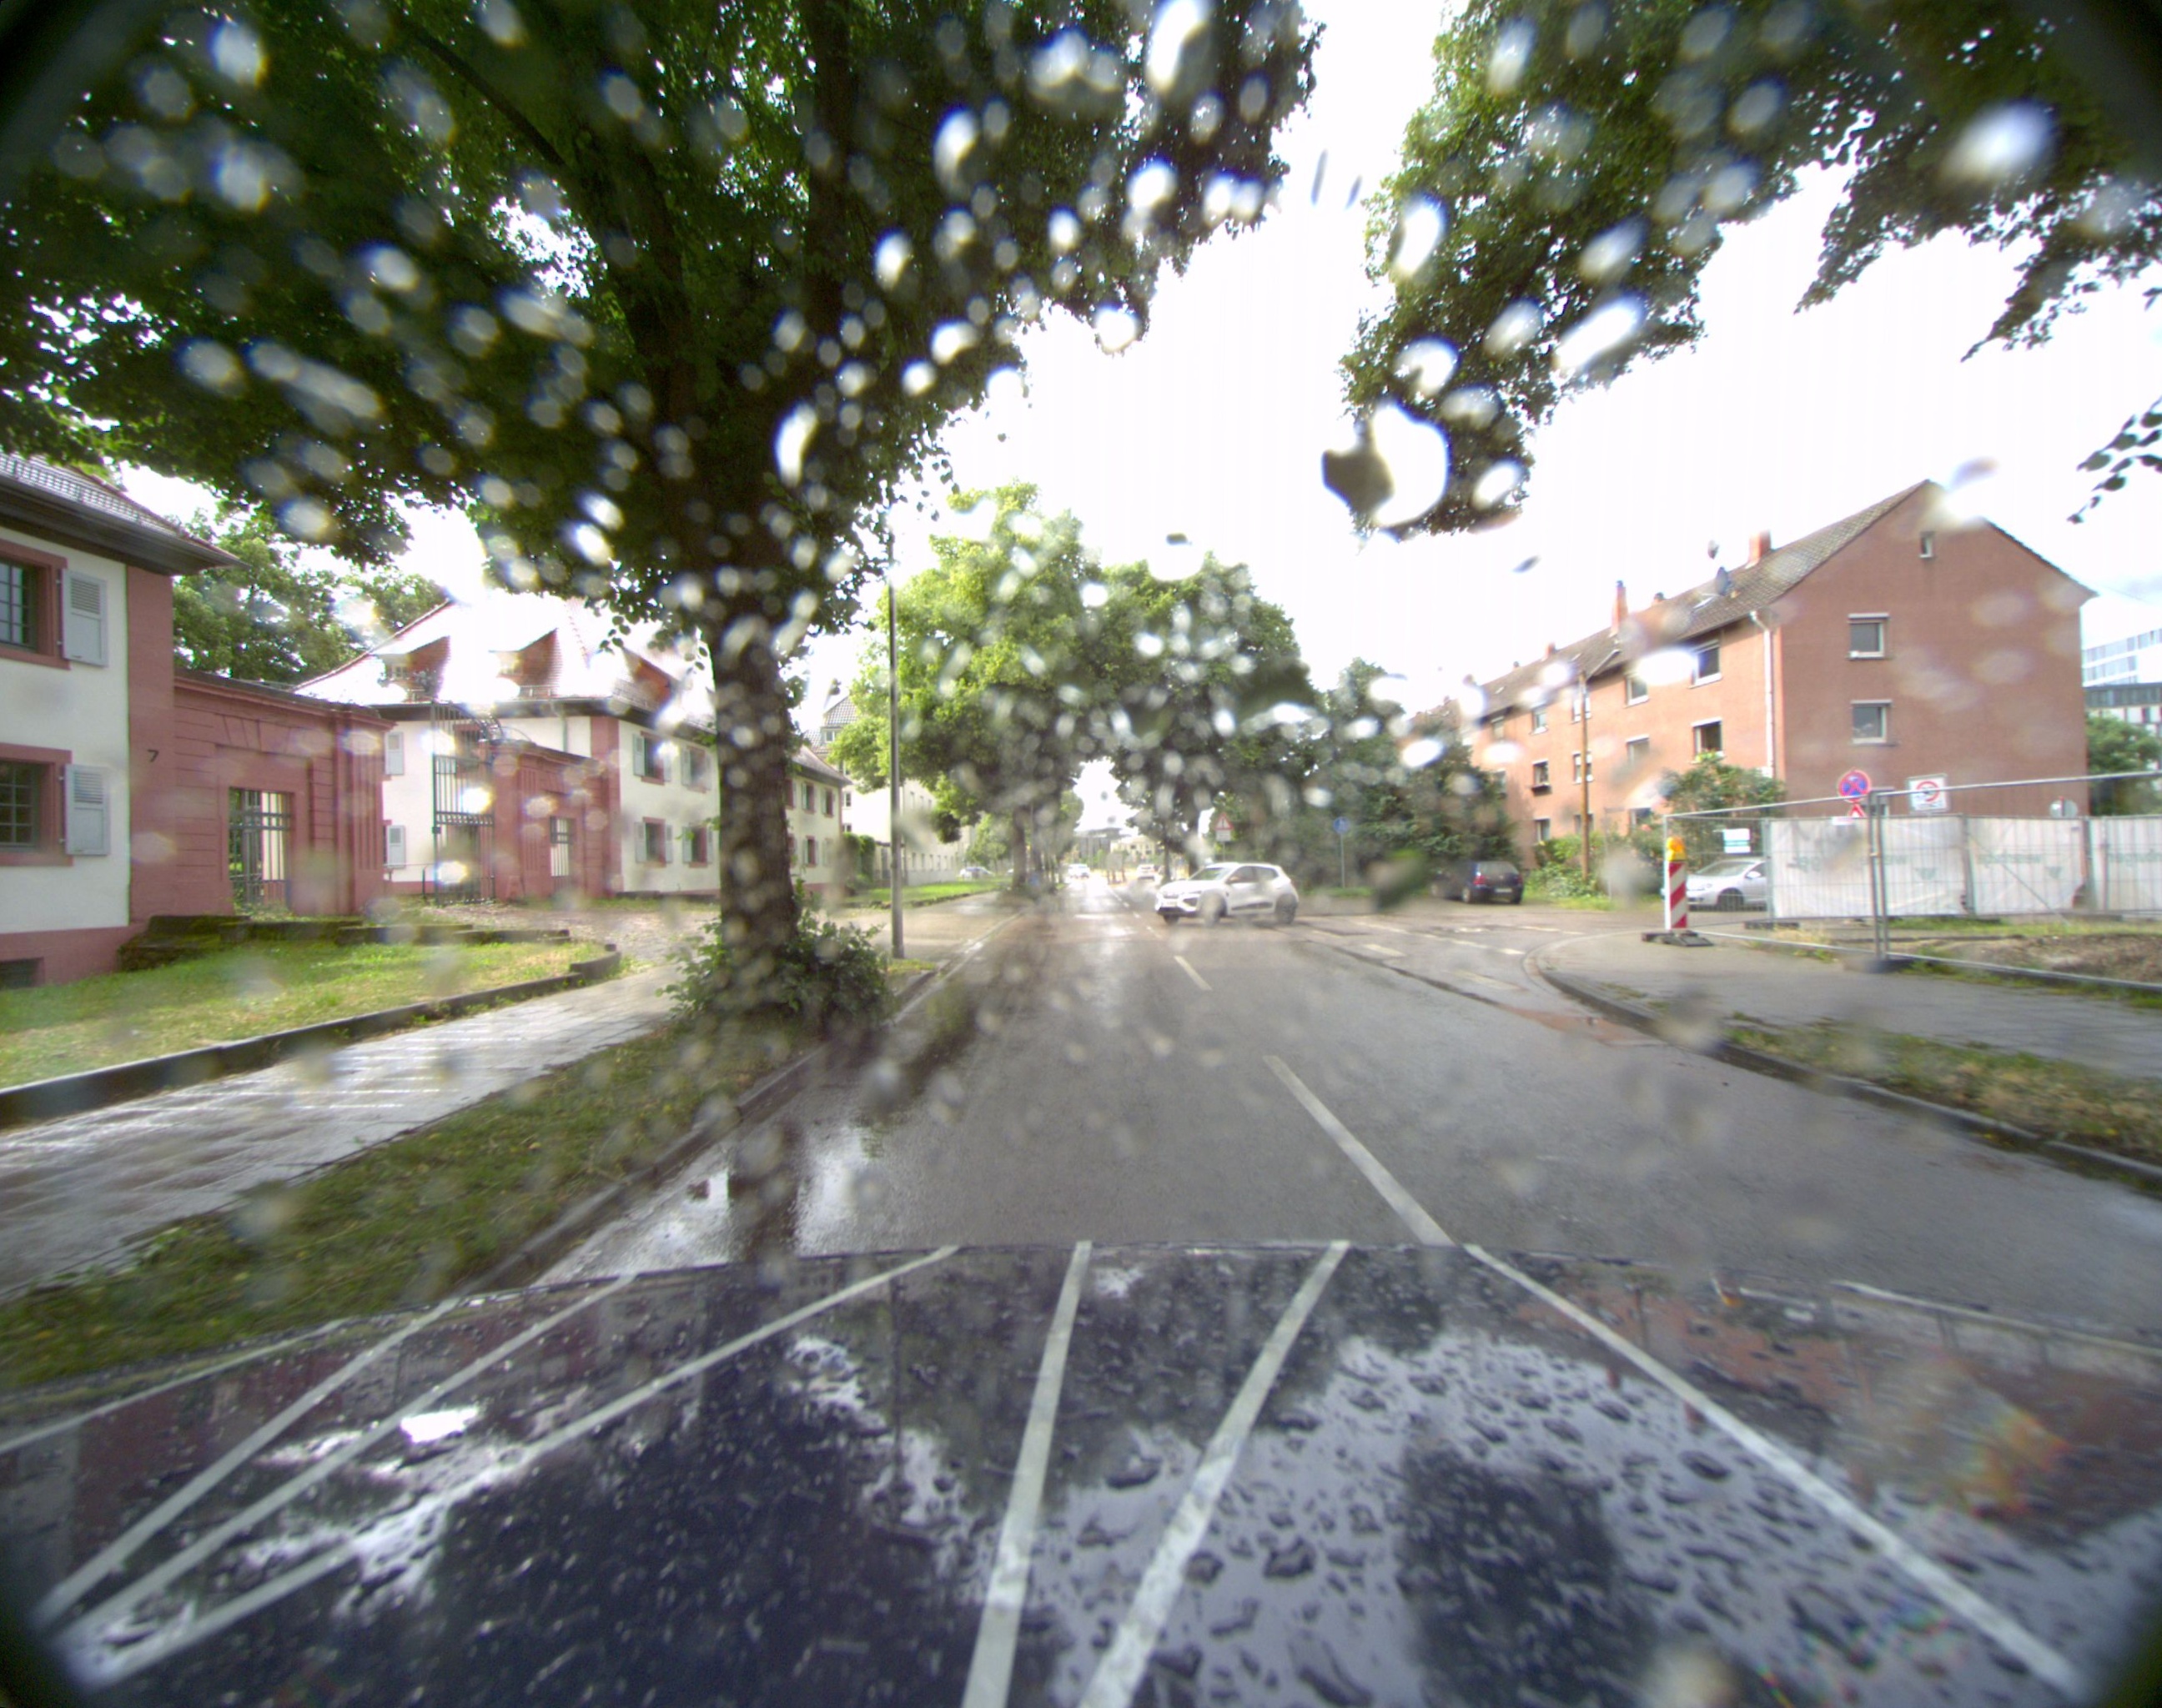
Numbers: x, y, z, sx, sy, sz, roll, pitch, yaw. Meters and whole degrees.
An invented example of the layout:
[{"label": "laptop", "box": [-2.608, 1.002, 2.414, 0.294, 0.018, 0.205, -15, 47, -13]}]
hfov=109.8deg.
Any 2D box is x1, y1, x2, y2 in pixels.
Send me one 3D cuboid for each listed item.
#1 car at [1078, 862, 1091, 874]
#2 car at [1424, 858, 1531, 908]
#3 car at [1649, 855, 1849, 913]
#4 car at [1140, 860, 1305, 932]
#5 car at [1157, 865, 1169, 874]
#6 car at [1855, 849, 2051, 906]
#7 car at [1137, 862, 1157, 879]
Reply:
[{"label": "car", "box": [0.513, 2.023, 112.140, 1.891, 1.703, 4.230, -1, -1, 1]}, {"label": "car", "box": [13.287, 0.914, 25.714, 1.628, 1.412, 3.870, -3, 1, 2]}, {"label": "car", "box": [18.505, 0.804, 21.168, 4.064, 1.464, 1.728, -1, 0, -1]}, {"label": "car", "box": [3.421, 0.944, 18.308, 3.622, 1.524, 1.734, -1, 0, -30]}, {"label": "car", "box": [13.587, 2.512, 126.220, 1.683, 1.499, 3.795, -1, -1, 4]}, {"label": "car", "box": [24.040, 0.626, 20.999, 4.067, 1.404, 1.726, -1, 0, -10]}, {"label": "car", "box": [7.051, 1.780, 81.839, 1.891, 1.703, 4.230, -1, -1, 1]}]
